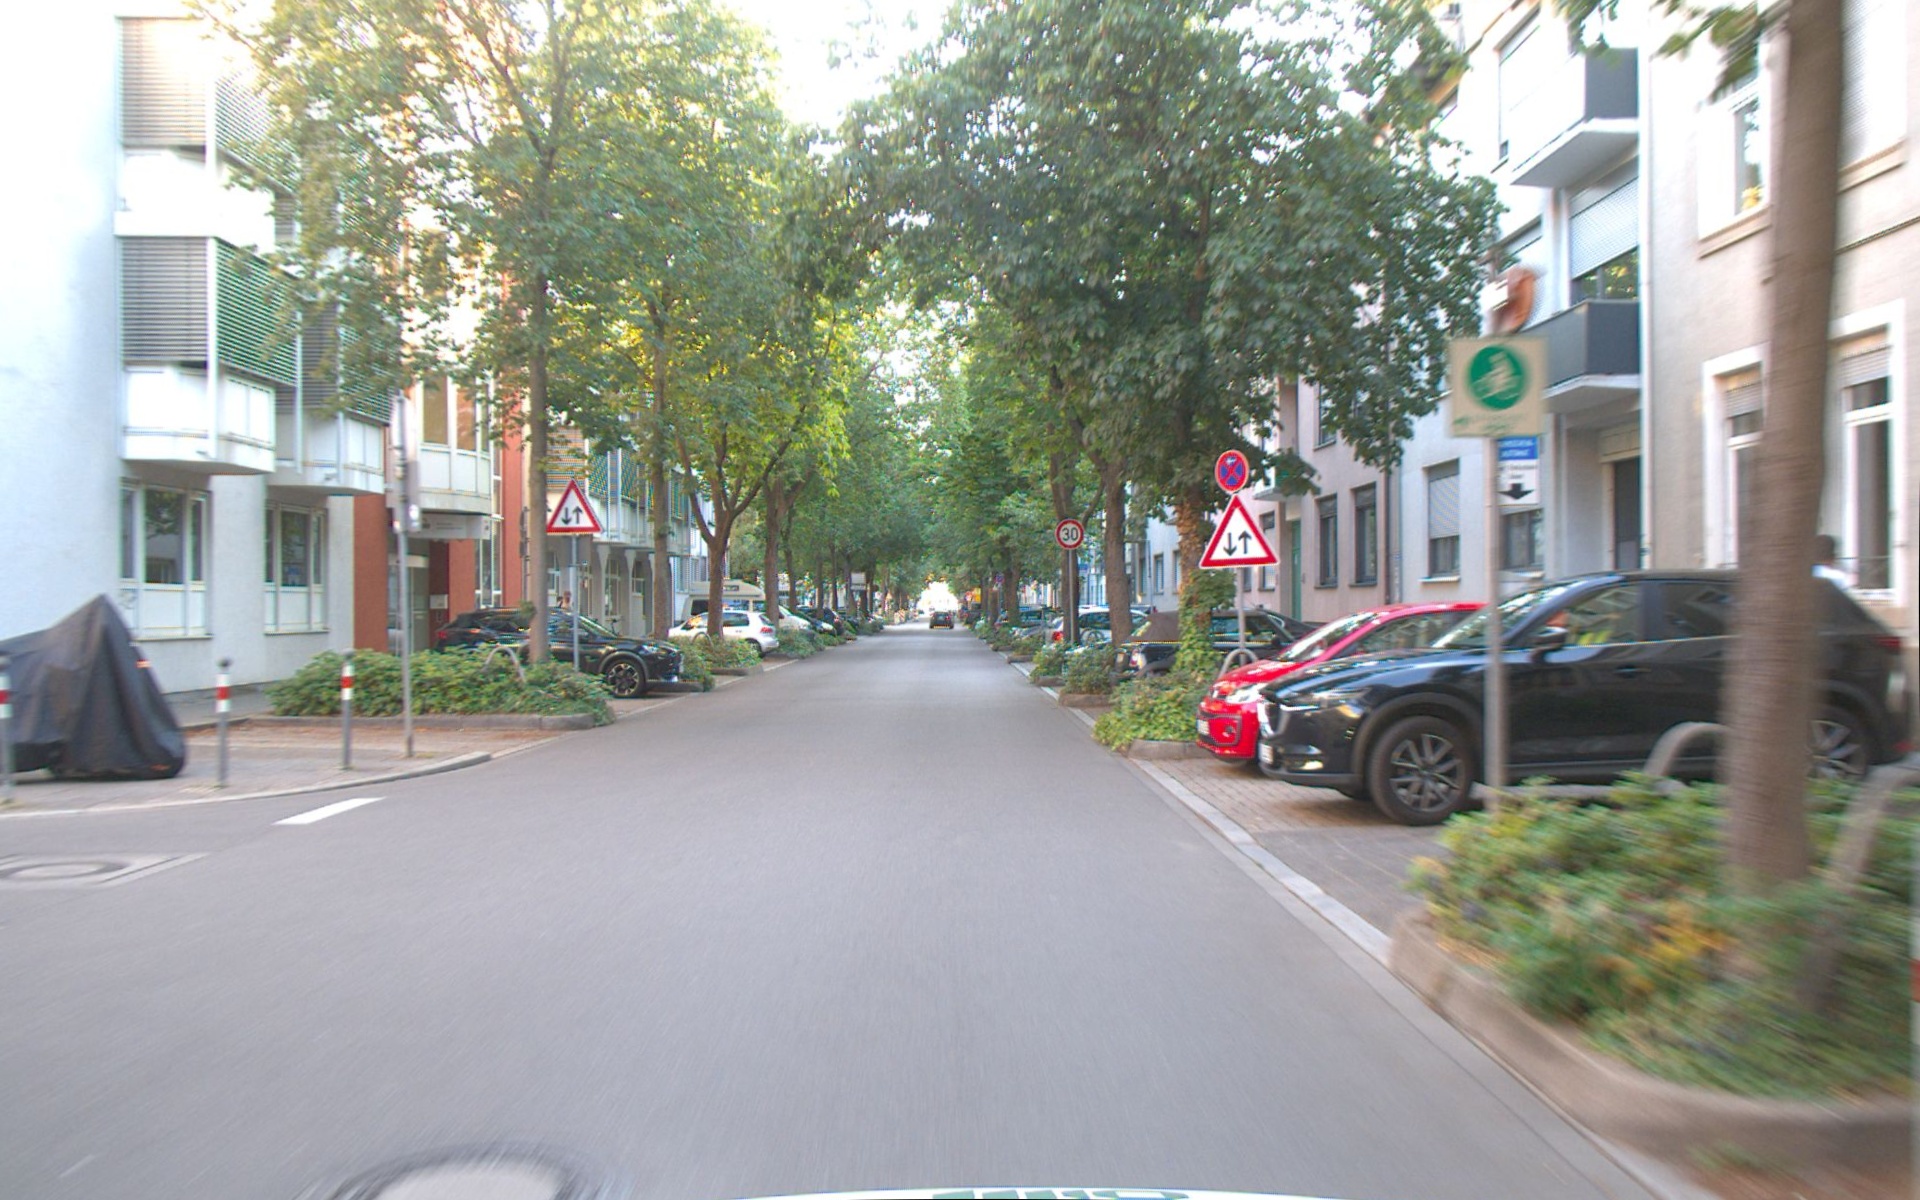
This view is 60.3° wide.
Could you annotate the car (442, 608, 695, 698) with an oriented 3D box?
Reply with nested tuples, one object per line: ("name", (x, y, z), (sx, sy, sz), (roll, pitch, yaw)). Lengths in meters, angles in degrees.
("car", (-6.906, 0.917, 29.489), (4.044, 1.512, 1.929), (1, 0, -2))

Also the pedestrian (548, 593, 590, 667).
("pedestrian", (-9.510, 0.724, 40.226), (0.689, 1.788, 0.739), (0, -1, 23))

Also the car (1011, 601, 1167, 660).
("car", (3.886, 0.902, 50.416), (4.620, 1.740, 1.950), (0, 0, 1))

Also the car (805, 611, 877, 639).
("car", (-7.951, 1.676, 110.803), (4.665, 1.658, 1.962), (-2, -1, -1))

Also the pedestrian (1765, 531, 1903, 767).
("pedestrian", (6.791, 0.363, 12.859), (0.683, 1.767, 0.667), (-1, 0, -32))

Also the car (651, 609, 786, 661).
("car", (-7.323, 1.042, 50.349), (3.791, 1.512, 1.757), (1, 0, 1))

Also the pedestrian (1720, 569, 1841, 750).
("pedestrian", (7.340, 0.515, 14.830), (0.641, 1.563, 0.831), (-1, 0, 0))

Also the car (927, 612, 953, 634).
("car", (-1.540, 1.739, 127.360), (1.917, 1.593, 4.281), (-2, -1, 0))

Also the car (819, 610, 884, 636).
("car", (-7.946, 1.684, 121.435), (4.665, 1.658, 1.962), (-2, -1, -1))

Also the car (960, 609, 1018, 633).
("car", (2.147, 1.514, 121.849), (4.181, 1.593, 1.962), (-2, -1, -1))

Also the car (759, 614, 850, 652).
("car", (-7.383, 1.554, 78.889), (4.118, 1.664, 1.962), (-2, -1, -1))

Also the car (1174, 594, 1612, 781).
("car", (3.820, 0.739, 15.024), (3.414, 1.478, 1.898), (-2, 0, -3))

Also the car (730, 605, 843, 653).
("car", (-7.428, 1.227, 71.169), (4.587, 1.886, 1.962), (-2, -1, -1))

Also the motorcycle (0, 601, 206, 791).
("motorcycle", (-7.492, 0.766, 13.705), (2.175, 1.507, 0.855), (0, 1, -19))

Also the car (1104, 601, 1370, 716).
("car", (3.890, 0.802, 23.663), (3.414, 1.478, 1.898), (-2, 0, -3))

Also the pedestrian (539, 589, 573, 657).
("pedestrian", (-10.697, 0.608, 43.827), (0.689, 1.758, 0.905), (0, -1, -1))

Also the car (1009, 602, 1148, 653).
("car", (4.021, 0.931, 56.875), (4.587, 1.548, 1.962), (-2, -1, -1))

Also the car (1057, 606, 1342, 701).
("car", (4.069, 0.893, 28.715), (4.615, 1.446, 2.035), (-2, 0, -1))

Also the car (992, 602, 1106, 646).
("car", (3.532, 0.953, 65.779), (4.414, 1.548, 1.996), (-2, -1, 2))

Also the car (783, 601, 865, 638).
("car", (-8.035, 1.163, 98.033), (4.665, 2.019, 1.962), (-2, -1, -1))

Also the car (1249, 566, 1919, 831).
("car", (4.402, 0.649, 11.860), (4.335, 1.685, 1.899), (-1, 0, 1))

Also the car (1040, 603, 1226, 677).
("car", (3.772, 0.856, 36.466), (3.800, 1.465, 1.846), (-2, 0, -4))

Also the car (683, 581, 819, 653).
("car", (-7.372, 0.597, 58.727), (4.587, 2.521, 2.000), (0, -1, -1))
